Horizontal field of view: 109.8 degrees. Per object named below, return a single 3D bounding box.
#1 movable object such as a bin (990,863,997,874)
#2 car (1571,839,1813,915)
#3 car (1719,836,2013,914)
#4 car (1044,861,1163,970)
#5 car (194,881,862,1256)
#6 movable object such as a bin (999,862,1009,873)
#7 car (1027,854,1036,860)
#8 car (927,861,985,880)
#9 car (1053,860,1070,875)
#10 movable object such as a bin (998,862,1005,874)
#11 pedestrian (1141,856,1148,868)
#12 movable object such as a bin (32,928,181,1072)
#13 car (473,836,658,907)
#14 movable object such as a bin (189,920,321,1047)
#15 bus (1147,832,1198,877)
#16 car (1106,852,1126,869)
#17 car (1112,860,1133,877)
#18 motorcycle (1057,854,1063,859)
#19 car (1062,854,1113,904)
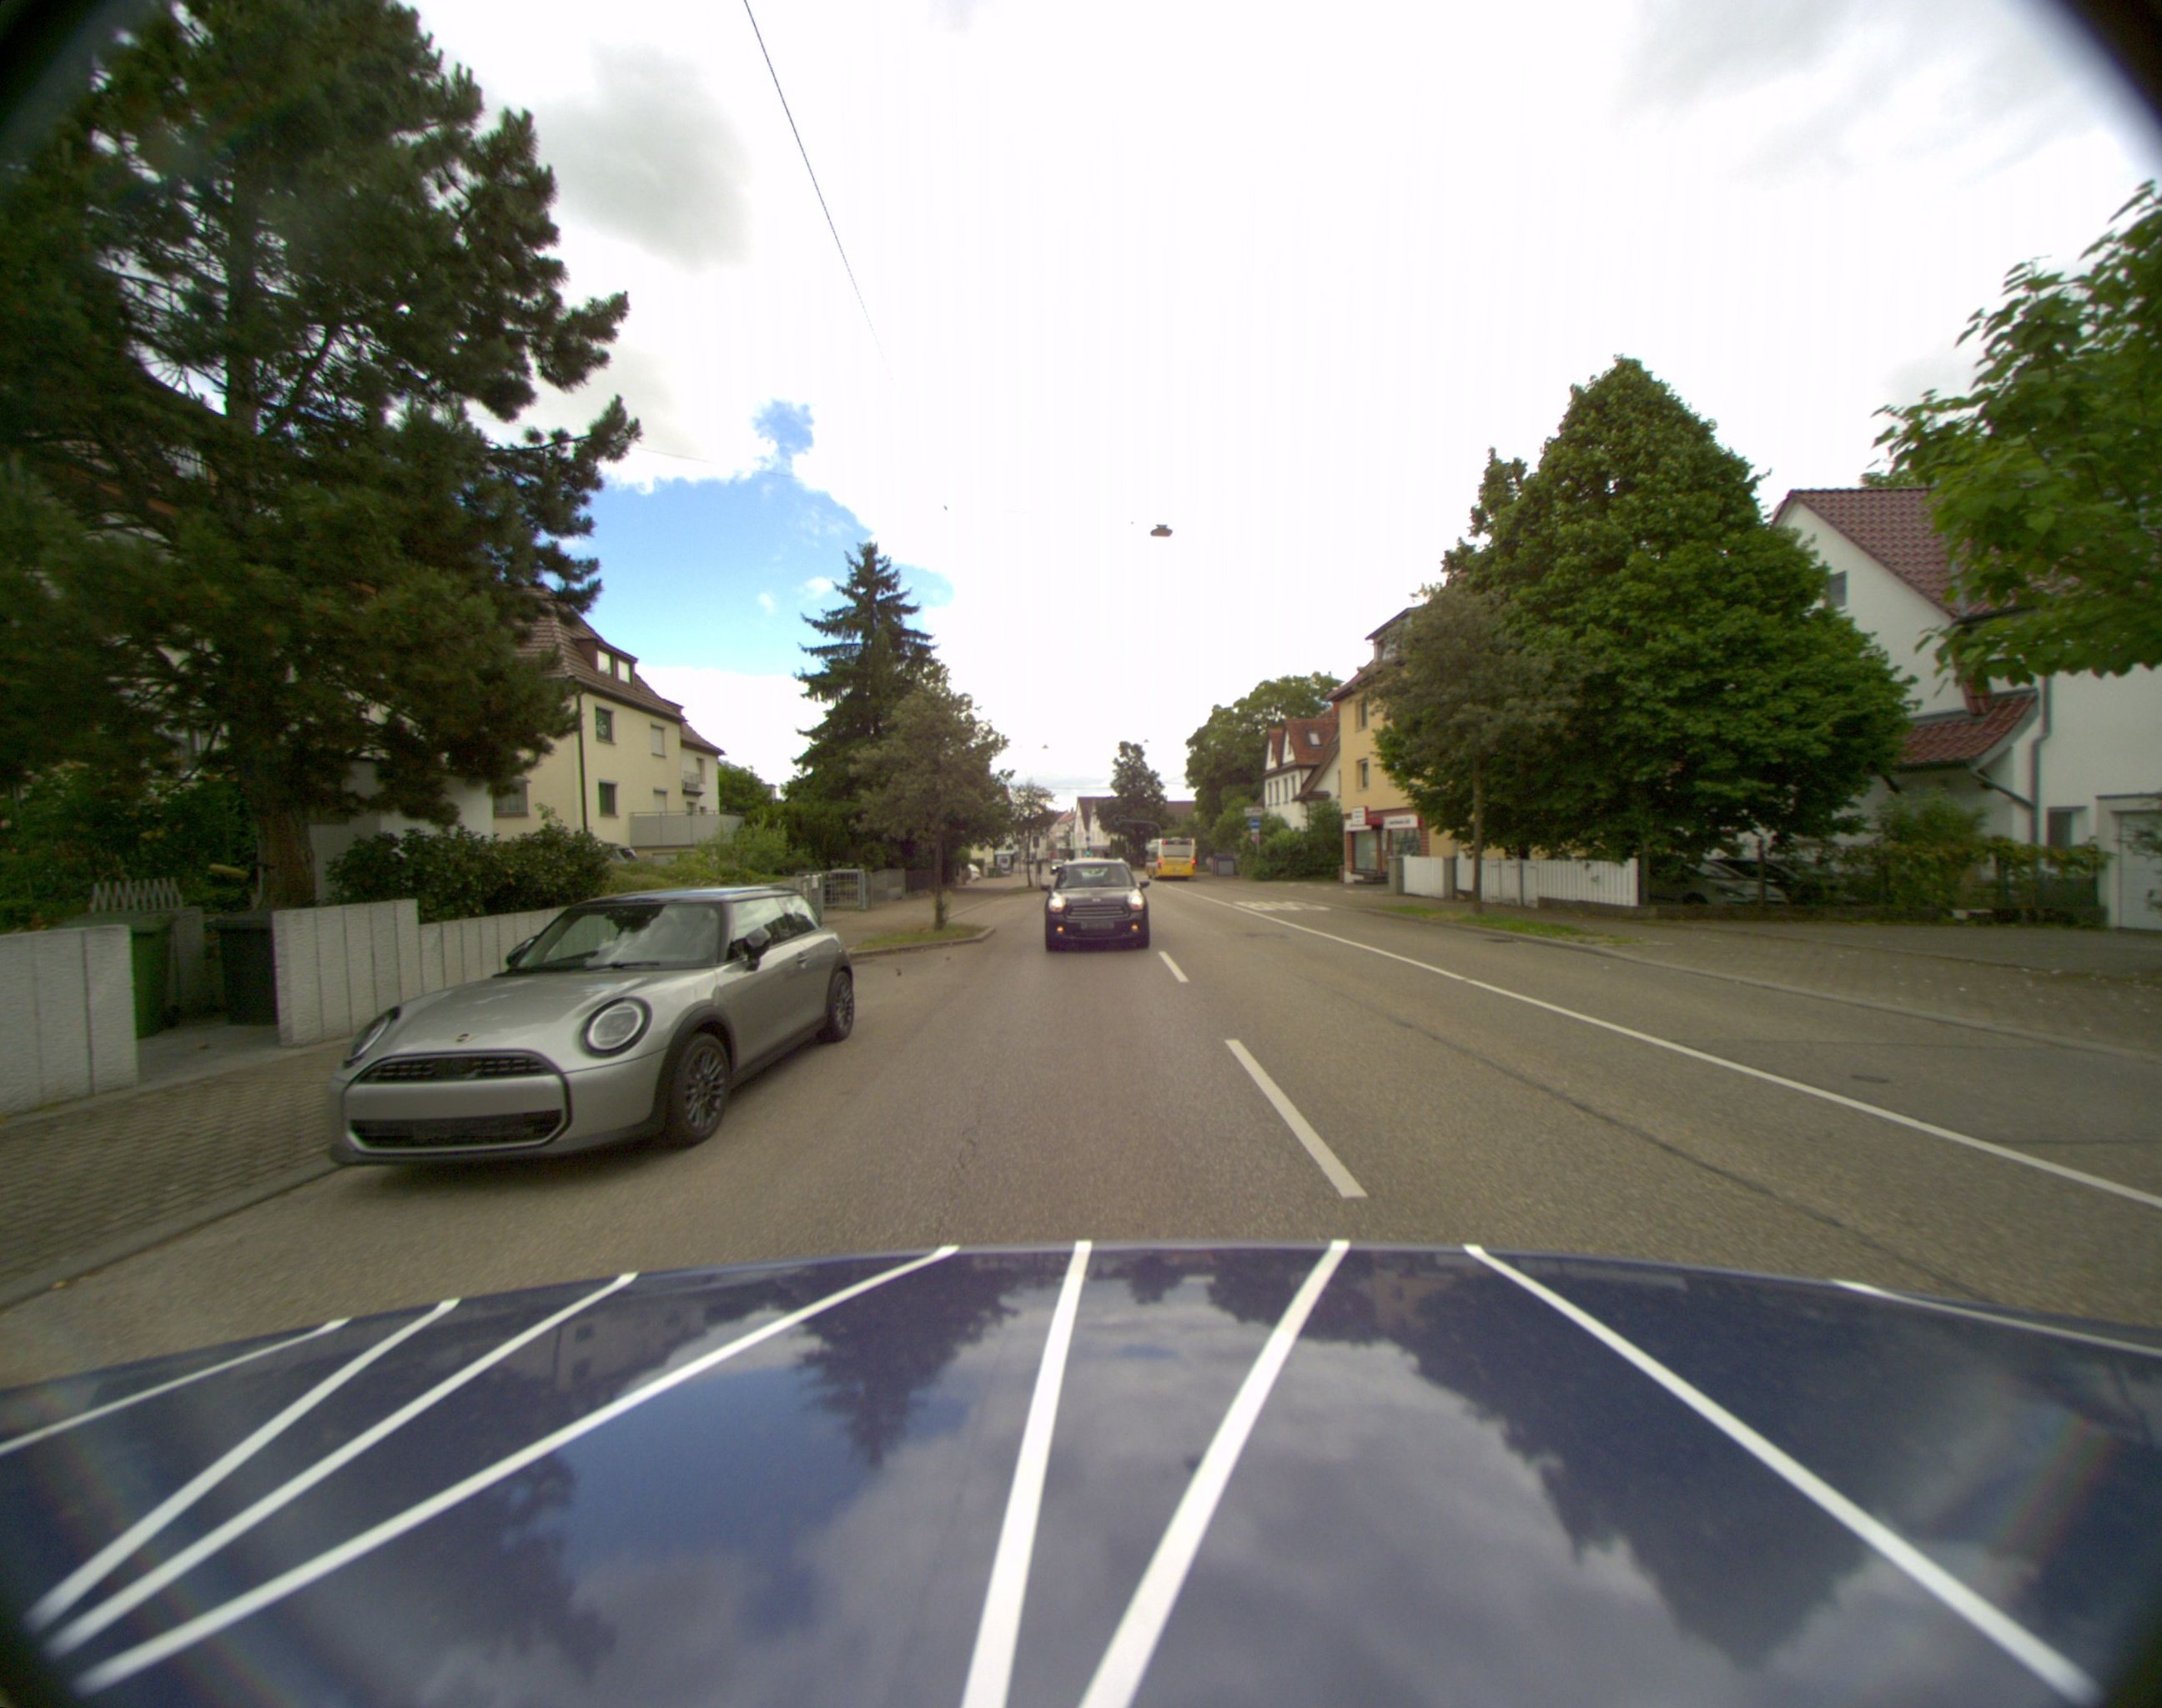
[{"bbox_3d":[-8.549,1.407,74.480,0.638,1.040,0.585,-2,1,-8],"label":"movable object such as a bin"},{"bbox_3d":[14.073,0.497,17.954,1.811,1.555,4.617,0,0,-4],"label":"car"},{"bbox_3d":[17.559,0.488,17.419,1.811,1.554,4.618,0,-2,-4],"label":"car"},{"bbox_3d":[0.262,0.925,13.160,1.694,1.506,3.999,-2,0,-2],"label":"car"},{"bbox_3d":[-3.004,1.023,5.340,1.654,1.374,3.999,-2,1,1],"label":"car"},{"bbox_3d":[-7.633,1.366,75.334,0.637,1.040,0.592,-2,2,24],"label":"movable object such as a bin"},{"bbox_3d":[-12.015,0.738,184.373,1.635,1.404,3.995,-1,0,-14],"label":"car"},{"bbox_3d":[-10.207,1.320,62.063,4.432,1.480,1.864,0,1,-1],"label":"car"},{"bbox_3d":[-2.230,1.505,87.898,1.846,1.510,3.999,-3,1,0],"label":"car"},{"bbox_3d":[-7.808,1.371,74.572,0.638,1.040,0.585,-3,2,-8],"label":"movable object such as a bin"},{"bbox_3d":[9.167,1.173,109.750,0.642,1.596,0.865,-4,2,-21],"label":"pedestrian"},{"bbox_3d":[-8.172,1.192,6.404,0.595,1.051,0.613,2,2,-33],"label":"movable object such as a bin"},{"bbox_3d":[-14.846,0.458,22.056,3.998,1.694,1.884,4,2,-3],"label":"car"},{"bbox_3d":[-7.601,1.171,7.023,0.594,1.051,0.613,3,2,-21],"label":"movable object such as a bin"},{"bbox_3d":[6.802,0.029,58.404,2.638,3.068,12.069,0,0,1],"label":"bus"},{"bbox_3d":[3.584,0.692,78.975,1.763,1.626,4.593,0,1,-1],"label":"car"},{"bbox_3d":[3.853,1.323,70.663,1.568,1.412,4.129,-1,1,-1],"label":"car"},{"bbox_3d":[-4.795,0.578,174.253,1.430,1.017,0.524,-4,2,-11],"label":"motorcycle"},{"bbox_3d":[0.230,0.918,30.374,1.811,1.556,4.615,-3,3,0],"label":"car"}]
